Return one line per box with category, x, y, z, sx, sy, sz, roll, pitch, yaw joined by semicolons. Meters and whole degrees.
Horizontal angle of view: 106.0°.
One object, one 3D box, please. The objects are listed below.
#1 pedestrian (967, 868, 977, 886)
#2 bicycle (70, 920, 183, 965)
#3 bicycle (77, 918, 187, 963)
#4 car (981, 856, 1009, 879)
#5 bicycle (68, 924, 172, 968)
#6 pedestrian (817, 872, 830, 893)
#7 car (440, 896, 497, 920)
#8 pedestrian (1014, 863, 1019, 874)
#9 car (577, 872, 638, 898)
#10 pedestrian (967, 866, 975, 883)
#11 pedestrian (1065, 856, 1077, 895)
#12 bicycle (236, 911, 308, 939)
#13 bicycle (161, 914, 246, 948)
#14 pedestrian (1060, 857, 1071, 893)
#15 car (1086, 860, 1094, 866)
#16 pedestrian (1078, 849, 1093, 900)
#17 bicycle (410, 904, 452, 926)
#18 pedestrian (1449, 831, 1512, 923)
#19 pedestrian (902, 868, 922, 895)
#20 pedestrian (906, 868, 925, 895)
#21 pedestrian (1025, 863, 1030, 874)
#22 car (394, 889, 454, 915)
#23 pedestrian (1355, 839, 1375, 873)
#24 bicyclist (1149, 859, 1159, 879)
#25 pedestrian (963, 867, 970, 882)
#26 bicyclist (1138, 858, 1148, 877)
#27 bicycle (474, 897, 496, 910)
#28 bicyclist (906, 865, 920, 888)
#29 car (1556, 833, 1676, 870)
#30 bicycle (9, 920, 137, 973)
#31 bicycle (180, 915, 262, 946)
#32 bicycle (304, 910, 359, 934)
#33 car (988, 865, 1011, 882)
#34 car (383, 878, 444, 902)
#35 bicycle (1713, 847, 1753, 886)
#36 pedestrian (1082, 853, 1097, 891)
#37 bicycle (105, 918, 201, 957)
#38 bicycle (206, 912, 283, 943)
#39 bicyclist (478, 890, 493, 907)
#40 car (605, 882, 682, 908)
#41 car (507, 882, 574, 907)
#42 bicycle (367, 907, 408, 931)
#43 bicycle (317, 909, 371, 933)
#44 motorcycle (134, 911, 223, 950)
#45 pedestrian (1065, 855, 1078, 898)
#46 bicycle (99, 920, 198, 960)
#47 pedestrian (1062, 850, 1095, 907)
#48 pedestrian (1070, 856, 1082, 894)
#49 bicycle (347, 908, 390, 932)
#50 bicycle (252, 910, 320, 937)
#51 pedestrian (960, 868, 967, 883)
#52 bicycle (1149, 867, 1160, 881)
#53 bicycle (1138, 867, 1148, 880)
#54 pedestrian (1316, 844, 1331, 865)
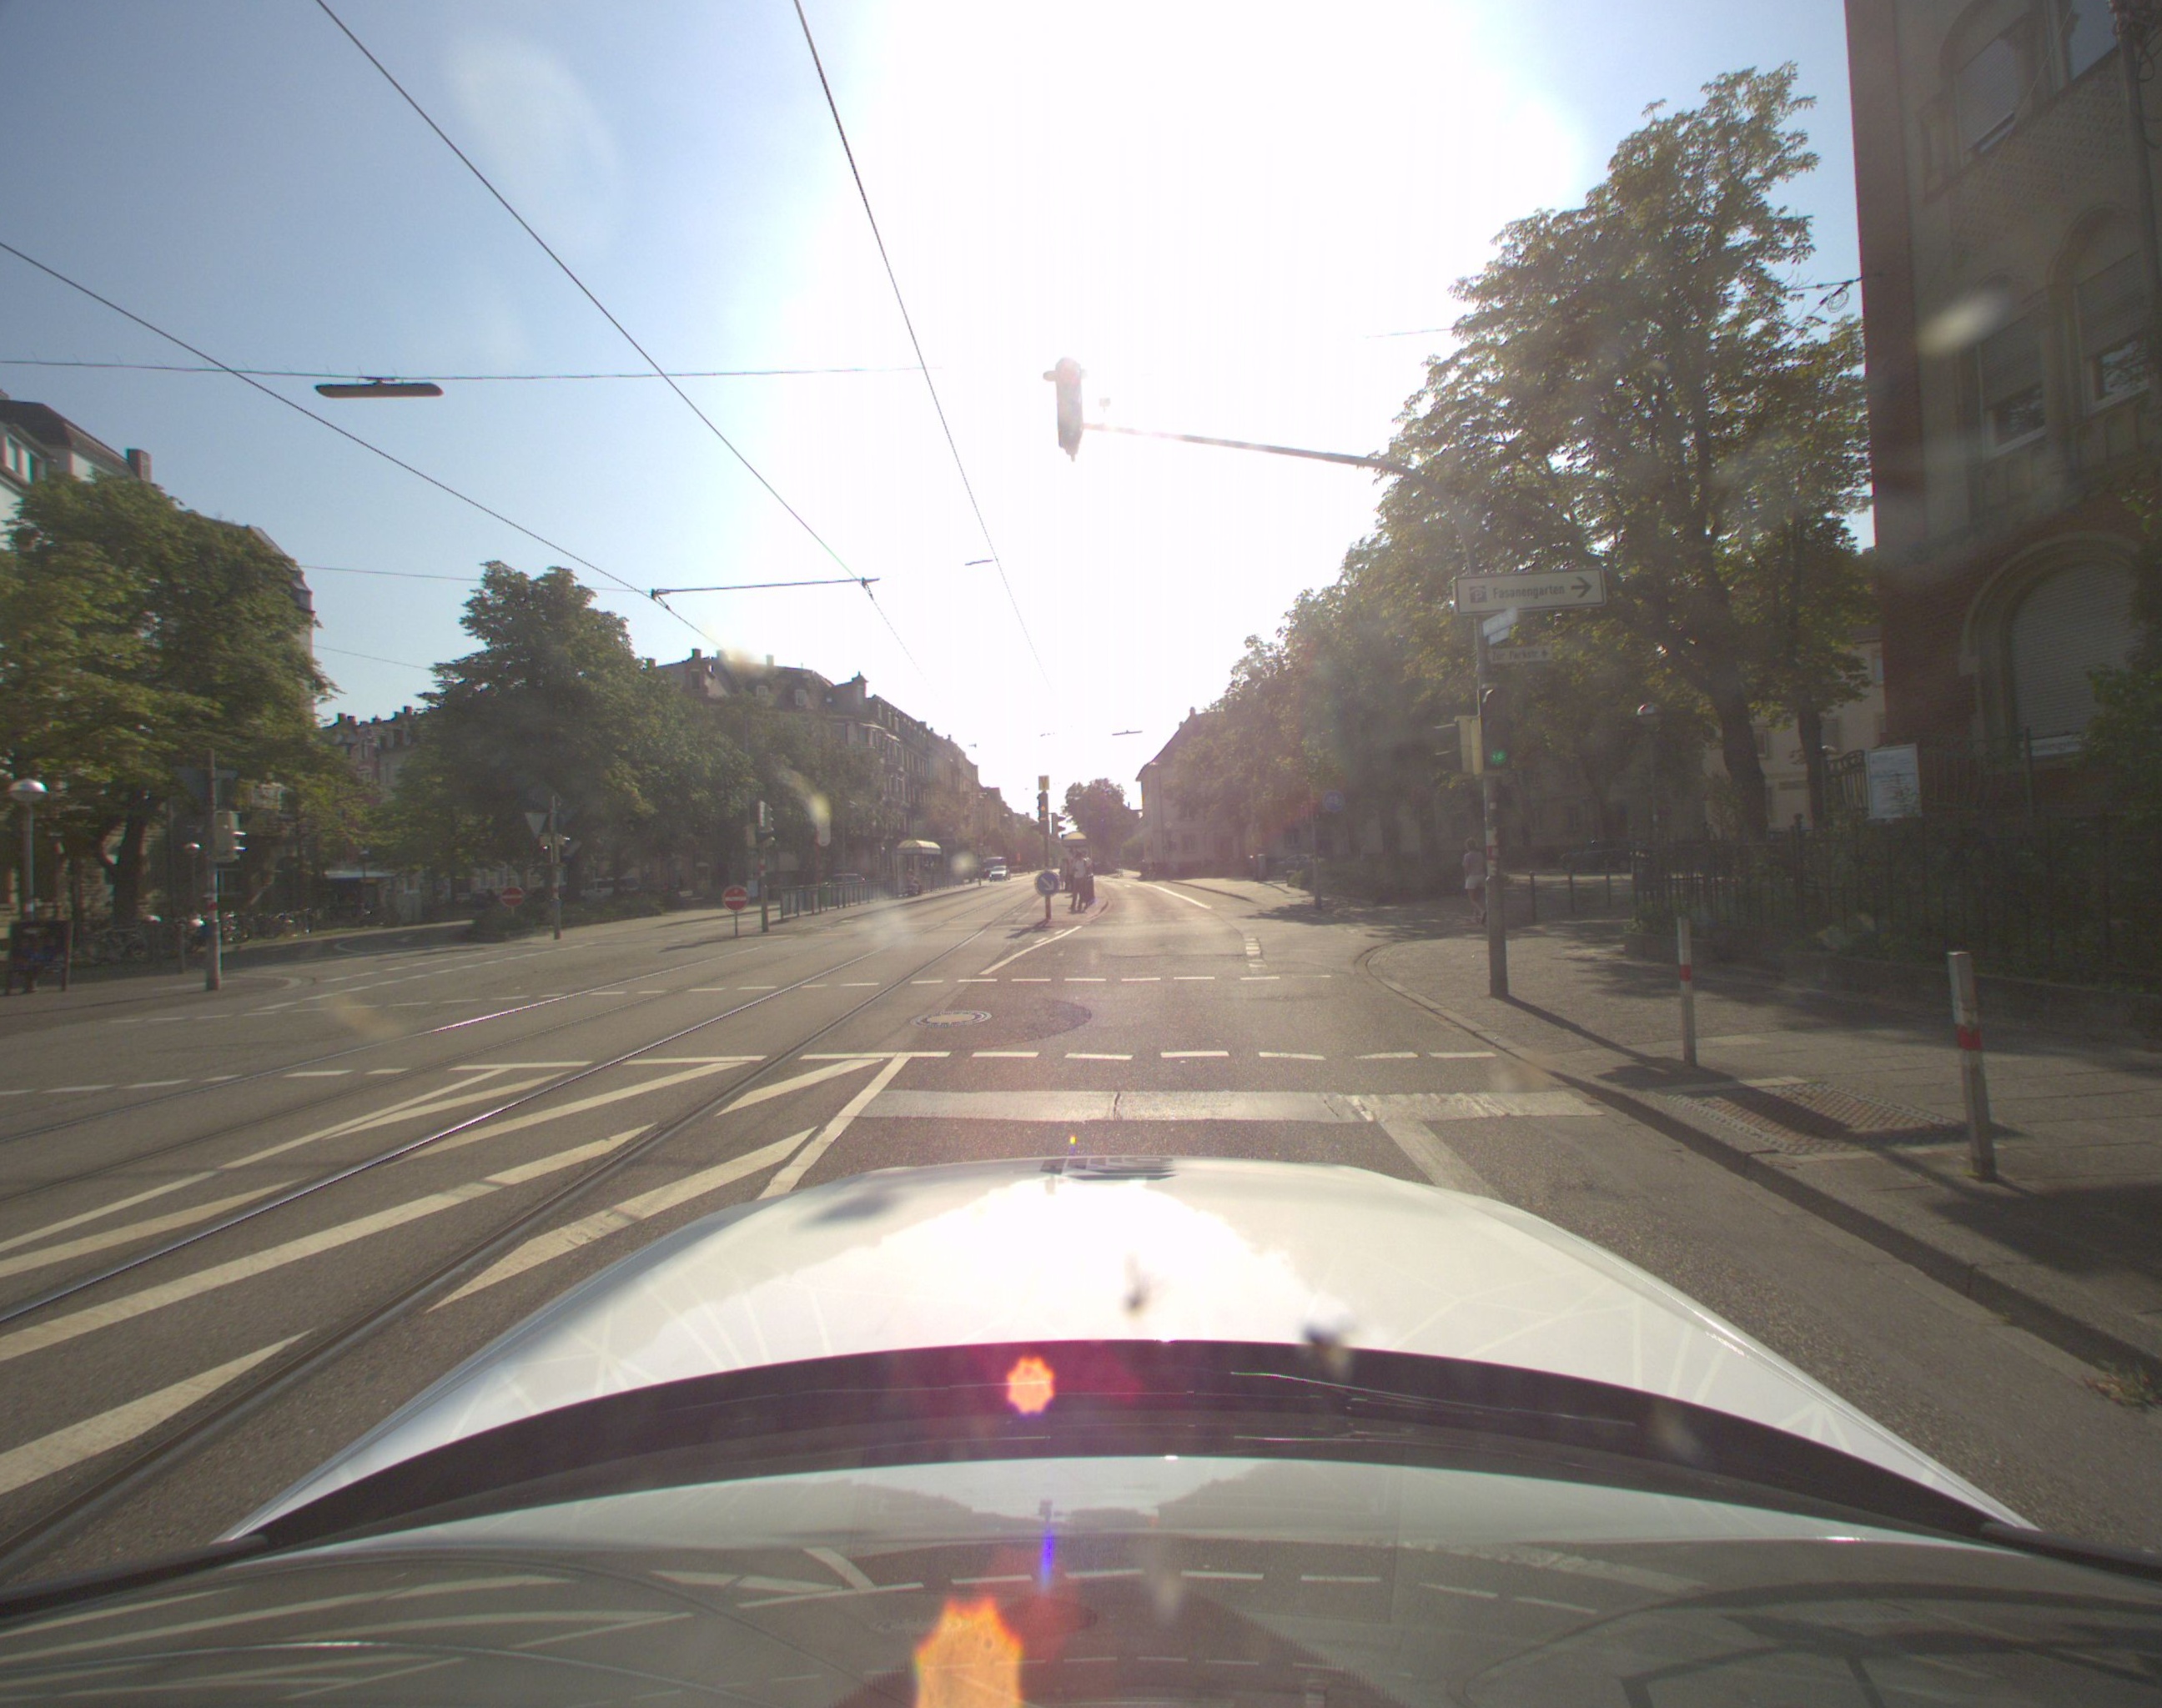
pedestrian;-10.883;2.328;81.140;0.747;1.731;0.772;-3;-1;3
bicycle;-24.997;2.301;21.370;0.562;1.003;1.890;-3;-2;37
bicycle;-26.051;2.355;22.405;1.887;1.034;0.563;-1;-2;-38
car;-10.681;1.637;101.366;2.336;2.662;5.111;-3;-1;5
bicycle;-23.958;2.284;20.342;0.473;0.920;1.619;-3;-2;31
pedestrian;-21.968;2.428;69.426;0.775;1.731;0.744;-2;-1;-38
car;-51.757;4.566;68.812;3.952;1.828;2.011;-3;-1;22
pedestrian;-10.429;2.399;131.209;0.749;1.731;0.769;-3;-1;-8
car;-36.295;2.373;62.430;3.952;1.828;2.011;-3;-1;22
pedestrian;-11.438;2.079;84.407;0.749;1.731;0.769;-3;-1;-8
pedestrian;-0.460;1.002;38.189;0.541;1.759;0.534;0;2;1
bicycle;-31.918;2.789;32.163;1.908;0.980;0.679;-1;-2;-33
bicycle;-30.414;2.652;28.265;1.885;1.027;0.657;-1;-2;-33
pedestrian;-0.768;1.033;40.420;0.530;1.759;0.545;0;2;2
car;2.824;2.722;257.111;1.982;1.783;4.008;-2;-1;8
pedestrian;0.168;0.739;29.472;0.502;1.834;0.534;0;2;1
bicycle;-33.697;3.157;42.214;1.754;0.978;0.606;-3;-1;8
pedestrian;7.874;0.443;16.075;0.749;1.731;0.769;-3;-1;-8
pedestrian;-8.686;1.415;41.918;0.826;1.359;0.775;-3;-1;-4
pedestrian;-8.693;1.429;42.895;0.826;1.359;0.775;-3;-1;-4
pedestrian;-8.758;2.392;134.114;0.749;1.731;0.769;-3;-1;-8
car;-52.141;3.837;64.622;3.952;1.828;2.011;-3;-1;22
pedestrian;14.667;0.106;42.030;0.883;1.740;0.780;-3;-1;20
bicyclist;5.360;1.092;59.788;0.556;1.417;0.871;-3;-1;-1
pedestrian;-13.651;2.477;96.820;0.749;1.731;0.769;-3;-1;-8
bicyclist;4.888;1.077;64.498;0.627;1.507;0.678;-3;-1;-1
bicycle;-47.458;3.959;64.869;1.833;0.958;0.551;-3;-1;24
bicyclist;-14.074;1.892;68.326;0.990;1.857;0.489;-2;-1;-20
car;23.130;-0.064;35.374;1.863;1.418;3.967;-2;-1;-25
bicycle;-24.853;2.249;20.127;0.563;1.113;1.888;-3;-1;22
bicycle;-30.996;2.742;29.391;1.919;0.935;0.730;-2;-2;-33
bicycle;-34.587;3.129;37.601;1.771;0.978;0.516;-3;-1;-22
car;-8.591;2.015;86.122;1.795;1.653;3.644;-3;-1;2
car;-58.276;3.120;71.111;3.959;1.828;2.007;-3;-1;13
bicycle;17.654;0.323;22.032;1.779;0.978;0.421;-2;-1;-39
pedestrian;0.400;0.851;38.370;0.706;1.759;0.534;0;2;1
bicycle;-27.753;2.481;24.388;1.814;0.983;0.652;-1;-2;-40
bicycle;-31.586;2.762;30.798;1.908;0.980;0.679;-1;-2;-33
bicyclist;-47.406;3.550;64.844;0.811;1.328;0.551;-3;-1;24
car;-30.773;2.858;57.387;4.300;1.569;2.003;-3;-1;6
car;-40.038;3.001;60.297;4.284;1.569;2.011;-3;-1;22
bicycle;-33.097;3.100;38.893;0.423;0.978;1.770;-3;-1;0
bicycle;-34.708;3.137;38.379;1.772;0.978;0.600;-3;-1;-23
motorcycle;-30.124;2.529;27.212;1.882;1.154;0.601;-1;-2;-33
pedestrian;-0.394;0.941;34.179;0.502;1.759;0.534;0;2;1
bicycle;-26.903;2.457;23.544;1.814;0.984;0.563;-1;-2;-40
pedestrian;-0.073;0.743;25.207;0.693;1.725;0.753;1;2;33
pedestrian;-0.235;0.999;38.995;0.541;1.759;0.534;0;2;1
bicycle;-33.475;3.104;38.308;0.423;0.978;1.770;-3;-1;0
bicycle;-32.685;2.853;33.510;1.877;0.935;0.635;-2;-2;-18
pedestrian;-13.610;2.460;94.057;0.749;1.731;0.769;-3;-1;-8
bicycle;5.384;1.436;59.770;0.556;0.978;1.855;-3;-1;-1
bicycle;4.903;1.513;64.494;0.627;0.978;1.769;-3;-1;-1
pedestrian;20.196;0.049;67.765;0.780;1.740;0.883;-2;-1;-44
